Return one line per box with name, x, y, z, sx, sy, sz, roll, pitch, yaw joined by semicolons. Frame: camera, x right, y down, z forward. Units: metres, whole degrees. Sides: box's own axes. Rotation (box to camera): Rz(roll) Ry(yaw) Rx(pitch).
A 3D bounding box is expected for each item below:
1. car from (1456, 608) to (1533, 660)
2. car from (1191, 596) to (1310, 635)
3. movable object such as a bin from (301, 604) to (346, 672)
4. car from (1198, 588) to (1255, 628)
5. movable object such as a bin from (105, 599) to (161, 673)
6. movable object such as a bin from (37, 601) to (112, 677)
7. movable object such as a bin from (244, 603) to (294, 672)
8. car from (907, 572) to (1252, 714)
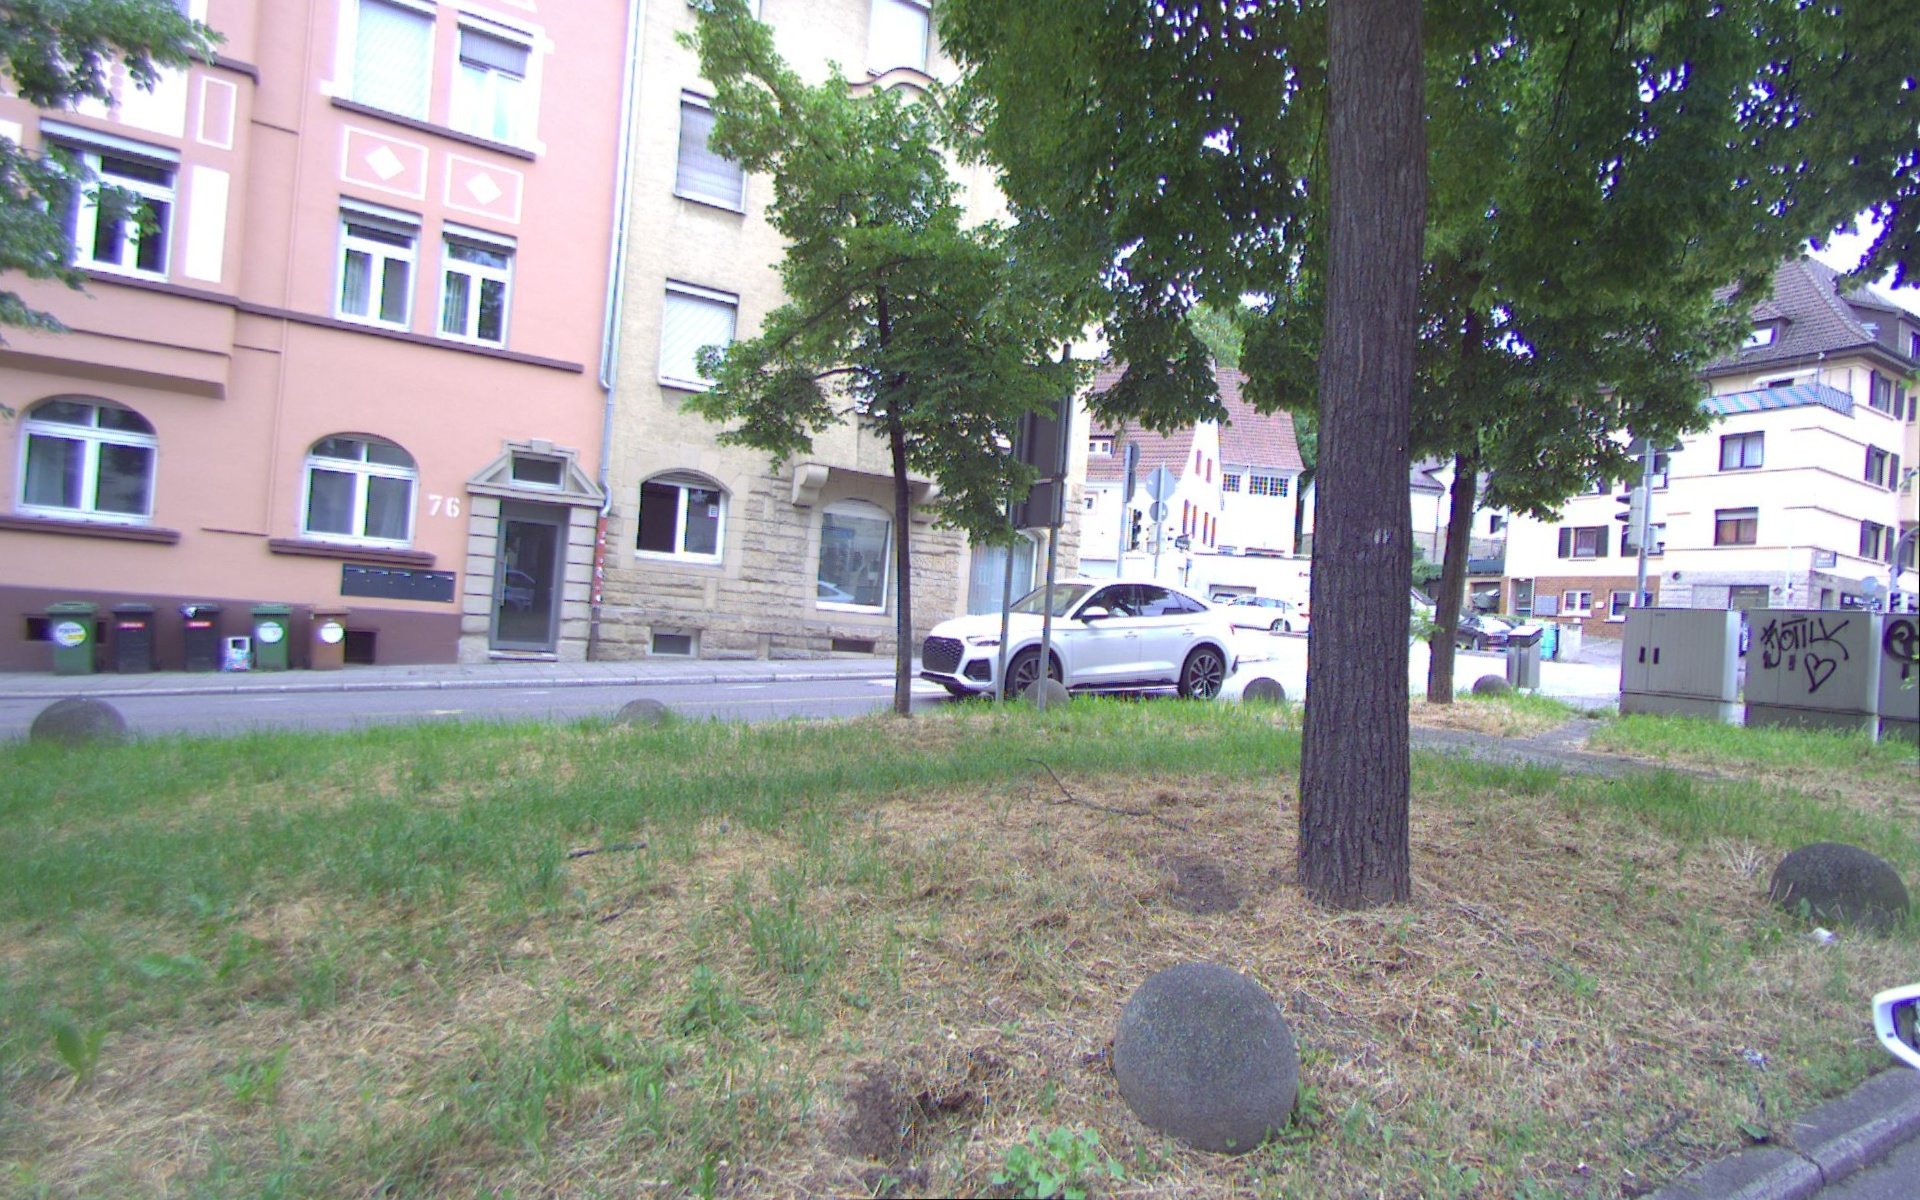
car;21.857;1.337;41.197;1.832;1.619;3.519;2;6;13
car;10.969;0.576;37.927;4.057;1.296;1.646;2;0;26
movable object such as a bin;-9.243;0.544;14.585;0.510;0.934;0.752;2;0;-34
car;11.865;0.313;44.897;1.639;1.424;3.057;7;3;2
movable object such as a bin;-11.088;0.479;13.481;0.528;0.958;0.576;2;0;-36
movable object such as a bin;-11.602;0.501;13.172;0.611;0.961;0.613;2;0;-31
movable object such as a bin;-9.795;0.526;14.243;0.554;0.934;0.649;2;0;-34
car;1.670;0.503;13.661;4.437;1.650;1.885;0;1;-30
